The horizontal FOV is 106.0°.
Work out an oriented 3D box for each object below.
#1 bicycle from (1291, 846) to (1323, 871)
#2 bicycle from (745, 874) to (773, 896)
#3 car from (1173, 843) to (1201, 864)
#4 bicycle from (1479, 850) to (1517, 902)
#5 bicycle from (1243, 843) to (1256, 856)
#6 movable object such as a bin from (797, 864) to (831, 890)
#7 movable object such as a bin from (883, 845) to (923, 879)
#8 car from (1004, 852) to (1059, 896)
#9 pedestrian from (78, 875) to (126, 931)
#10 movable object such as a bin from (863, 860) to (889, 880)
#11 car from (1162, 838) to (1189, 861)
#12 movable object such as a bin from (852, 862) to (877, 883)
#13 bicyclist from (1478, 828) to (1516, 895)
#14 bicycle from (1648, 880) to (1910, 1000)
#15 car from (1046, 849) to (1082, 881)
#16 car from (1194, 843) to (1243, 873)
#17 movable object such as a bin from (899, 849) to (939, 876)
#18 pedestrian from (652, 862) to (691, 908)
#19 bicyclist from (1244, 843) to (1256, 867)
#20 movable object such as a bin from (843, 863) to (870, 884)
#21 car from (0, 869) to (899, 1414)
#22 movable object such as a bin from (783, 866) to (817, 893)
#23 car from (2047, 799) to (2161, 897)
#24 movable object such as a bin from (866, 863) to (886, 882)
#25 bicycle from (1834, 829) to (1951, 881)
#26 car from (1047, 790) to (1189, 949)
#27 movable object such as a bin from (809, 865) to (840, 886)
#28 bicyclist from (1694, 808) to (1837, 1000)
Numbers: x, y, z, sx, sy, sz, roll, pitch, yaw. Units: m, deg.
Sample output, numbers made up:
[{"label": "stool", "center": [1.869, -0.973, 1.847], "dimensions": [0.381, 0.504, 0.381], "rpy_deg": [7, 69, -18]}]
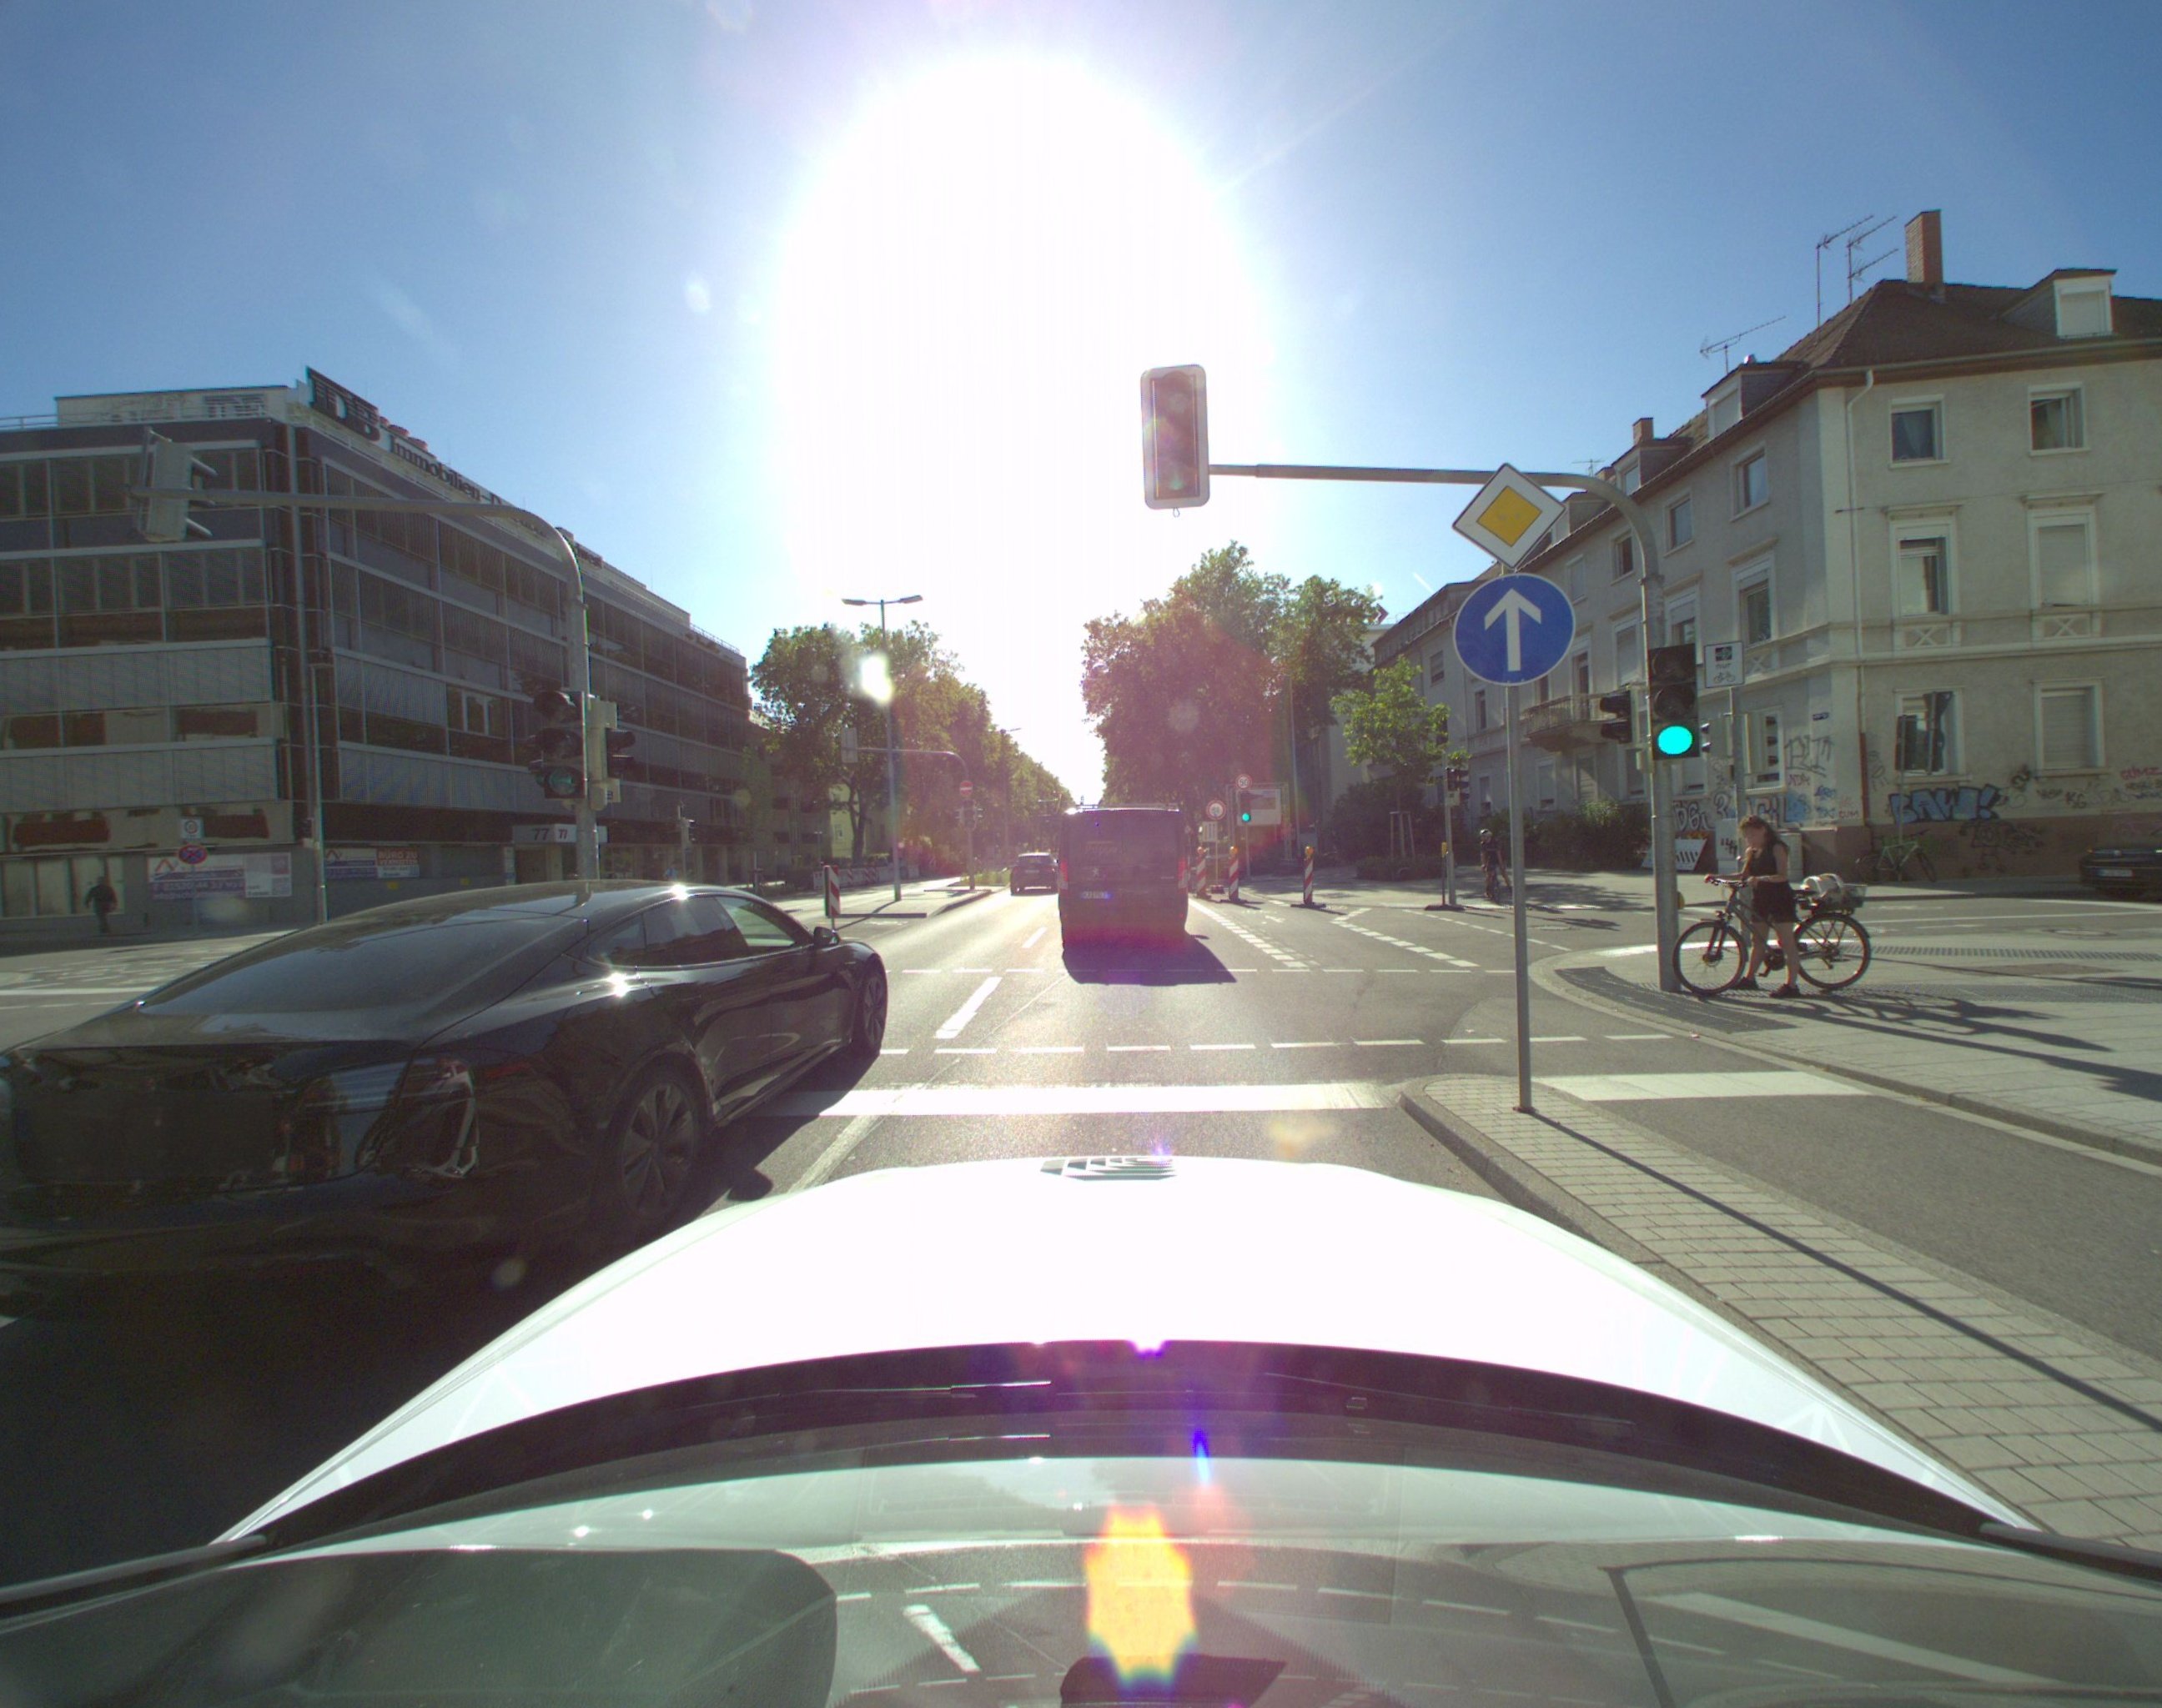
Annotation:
[{"label": "bicycle", "center": [9.977, 0.188, 35.924], "dimensions": [0.581, 1.005, 2.145], "rpy_deg": [-2, 0, 36]}, {"label": "bicycle", "center": [-17.093, 1.645, 43.319], "dimensions": [0.624, 1.037, 1.881], "rpy_deg": [-2, 0, 3]}, {"label": "car", "center": [8.286, -0.036, 63.927], "dimensions": [1.757, 1.508, 4.253], "rpy_deg": [-2, 0, 2]}, {"label": "bicycle", "center": [9.632, 0.490, 18.856], "dimensions": [0.682, 1.098, 1.697], "rpy_deg": [-2, 1, 25]}, {"label": "bicycle", "center": [13.150, -0.335, 63.562], "dimensions": [0.779, 0.966, 1.825], "rpy_deg": [-2, 0, 4]}, {"label": "movable object such as a bin", "center": [-15.784, 1.355, 48.164], "dimensions": [1.209, 1.388, 1.857], "rpy_deg": [-2, 0, 4]}, {"label": "movable object such as a bin", "center": [-14.929, 0.646, 68.703], "dimensions": [2.140, 2.706, 5.352], "rpy_deg": [-2, 0, -1]}, {"label": "car", "center": [-1.788, 0.688, 30.403], "dimensions": [1.740, 1.407, 4.000], "rpy_deg": [-1, 2, 0]}, {"label": "pedestrian", "center": [-30.129, 1.496, 25.085], "dimensions": [0.703, 1.657, 0.738], "rpy_deg": [-3, 1, -34]}, {"label": "movable object such as a bin", "center": [-15.178, 1.193, 60.411], "dimensions": [1.637, 1.422, 1.253], "rpy_deg": [-3, 0, -24]}, {"label": "car", "center": [8.723, -0.441, 75.604], "dimensions": [2.018, 1.946, 5.275], "rpy_deg": [-2, 0, 1]}, {"label": "movable object such as a bin", "center": [-14.951, 1.281, 56.245], "dimensions": [1.404, 1.338, 0.937], "rpy_deg": [-2, 0, 4]}, {"label": "bicyclist", "center": [9.617, 0.154, 18.854], "dimensions": [0.717, 1.499, 0.876], "rpy_deg": [-2, 0, 26]}, {"label": "bicycle", "center": [6.558, 0.793, 7.712], "dimensions": [1.955, 1.025, 0.605], "rpy_deg": [-1, 1, 1]}, {"label": "car", "center": [-0.846, 0.547, 42.760], "dimensions": [1.740, 1.407, 4.001], "rpy_deg": [-1, 2, 0]}, {"label": "car", "center": [7.457, 0.201, 44.706], "dimensions": [1.846, 1.479, 4.942], "rpy_deg": [-2, 0, 0]}, {"label": "movable object such as a bin", "center": [-14.812, 0.711, 74.887], "dimensions": [1.984, 2.278, 5.606], "rpy_deg": [-3, 0, 4]}, {"label": "pedestrian", "center": [-15.785, 1.179, 31.416], "dimensions": [0.860, 1.710, 1.015], "rpy_deg": [-3, 1, 9]}, {"label": "bicyclist", "center": [13.172, 0.099, 63.601], "dimensions": [0.721, 1.820, 1.071], "rpy_deg": [-2, 0, 3]}, {"label": "movable object such as a bin", "center": [-15.180, 1.310, 55.164], "dimensions": [1.404, 1.338, 1.158], "rpy_deg": [-2, 0, 4]}, {"label": "car", "center": [-2.608, 0.836, 4.528], "dimensions": [1.917, 1.412, 4.628], "rpy_deg": [-3, -1, 2]}, {"label": "movable object such as a bin", "center": [-15.771, 1.405, 45.826], "dimensions": [1.109, 1.388, 1.857], "rpy_deg": [-2, 0, 4]}, {"label": "car", "center": [19.914, -0.168, 13.885], "dimensions": [4.227, 1.618, 1.989], "rpy_deg": [-2, 0, 6]}, {"label": "movable object such as a bin", "center": [-14.725, 1.300, 58.578], "dimensions": [0.976, 1.270, 1.541], "rpy_deg": [-2, 0, 2]}, {"label": "bicycle", "center": [18.314, 0.013, 18.402], "dimensions": [1.988, 1.080, 0.579], "rpy_deg": [-2, 0, 3]}, {"label": "car", "center": [0.608, 0.200, 14.353], "dimensions": [2.088, 2.355, 3.934], "rpy_deg": [-2, 1, 1]}, {"label": "movable object such as a bin", "center": [-15.684, 1.318, 49.902], "dimensions": [1.388, 1.203, 1.243], "rpy_deg": [-2, 0, 5]}, {"label": "bicyclist", "center": [6.491, 0.444, 7.765], "dimensions": [0.601, 1.708, 0.859], "rpy_deg": [-3, 1, 2]}]
